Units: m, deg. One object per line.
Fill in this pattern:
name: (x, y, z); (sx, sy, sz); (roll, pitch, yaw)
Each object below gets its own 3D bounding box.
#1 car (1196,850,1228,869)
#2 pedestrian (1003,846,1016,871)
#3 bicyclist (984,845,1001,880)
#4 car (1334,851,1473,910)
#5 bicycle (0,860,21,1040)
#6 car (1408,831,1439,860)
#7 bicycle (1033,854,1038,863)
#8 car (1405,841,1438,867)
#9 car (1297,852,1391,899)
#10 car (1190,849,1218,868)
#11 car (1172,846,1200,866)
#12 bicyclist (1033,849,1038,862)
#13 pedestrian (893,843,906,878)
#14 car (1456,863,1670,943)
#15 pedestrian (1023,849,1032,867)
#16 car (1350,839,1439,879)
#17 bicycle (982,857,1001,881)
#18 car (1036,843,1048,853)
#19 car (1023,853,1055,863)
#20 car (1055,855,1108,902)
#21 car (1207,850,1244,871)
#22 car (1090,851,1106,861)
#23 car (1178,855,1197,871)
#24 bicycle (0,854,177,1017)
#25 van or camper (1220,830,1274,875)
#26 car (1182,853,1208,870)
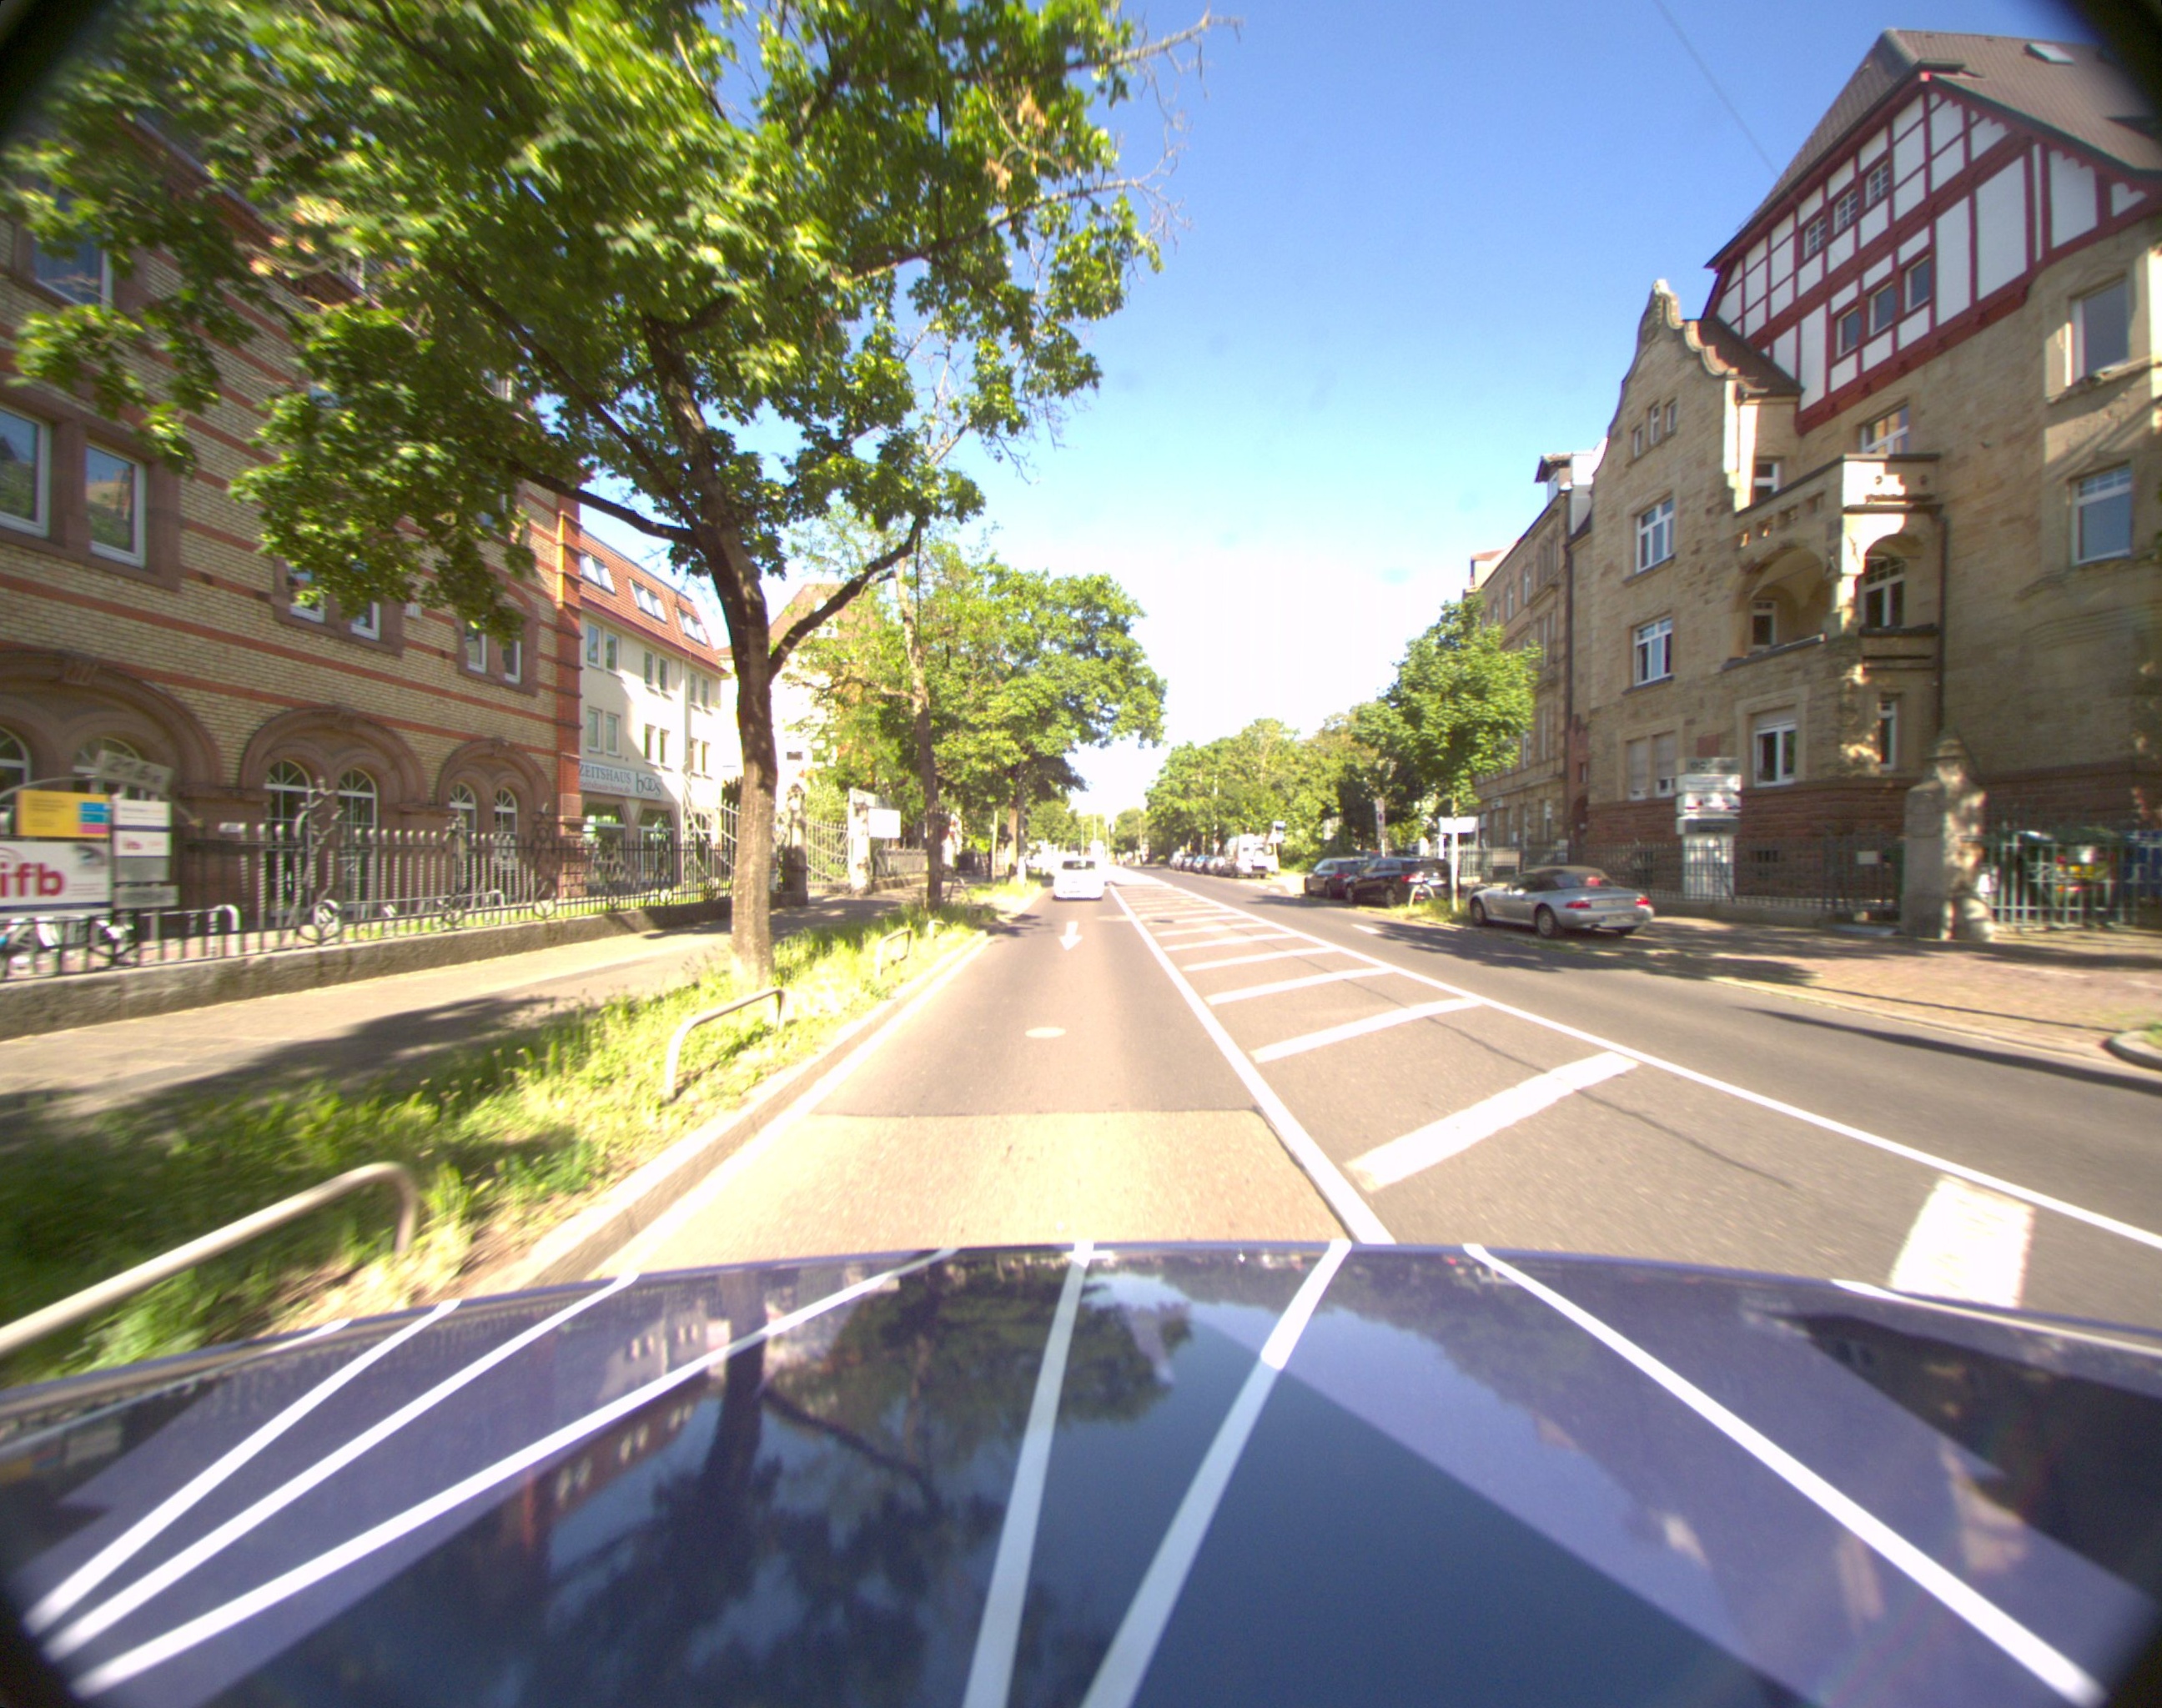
car: (10.253, 0.445, 59.693); (1.785, 1.405, 4.405); (1, 0, 0)
pedestrian: (-5.054, 0.311, 53.744); (0.749, 1.777, 0.811); (2, 1, 1)
bicyclist: (-4.471, 0.422, 38.343); (0.647, 1.685, 0.889); (3, 0, 1)
car: (9.551, 0.707, 22.997); (1.861, 1.485, 4.703); (-4, 1, -4)
bicycle: (-8.114, 0.649, 4.579); (2.202, 1.172, 0.687); (-1, 2, -5)
car: (23.943, -0.612, 53.110); (1.860, 1.903, 4.458); (1, 2, 25)
bicycle: (-5.962, 0.579, 98.898); (0.617, 1.169, 1.918); (3, 0, -4)
car: (21.773, -0.047, 48.549); (1.860, 1.504, 3.535); (1, 2, 25)
car: (9.617, 0.730, 28.242); (1.860, 1.419, 4.720); (-4, 0, 1)
car: (10.868, 0.363, 67.392); (1.784, 1.529, 4.558); (-2, 1, 1)
car: (11.395, 0.182, 82.642); (1.989, 2.024, 4.873); (2, 0, -4)
bicyclist: (-5.955, 0.195, 98.921); (0.622, 1.680, 0.820); (3, 0, -3)
pedestrian: (-9.345, 0.349, 39.061); (0.533, 1.768, 0.541); (0, 1, -26)
car: (9.162, 0.853, 14.894); (1.682, 1.248, 4.014); (-2, 0, 1)
pedestrian: (-5.010, 0.335, 71.472); (0.696, 1.649, 0.820); (2, 1, -1)
car: (15.637, 0.254, 37.866); (4.150, 1.660, 1.996); (-4, 0, -33)
bicycle: (-4.489, 0.743, 38.281); (0.654, 1.169, 1.843); (3, 0, 0)
car: (-6.124, -0.876, 118.264); (1.847, 1.432, 4.104); (2, 0, -4)
car: (-5.901, 0.587, 107.742); (4.417, 1.409, 2.047); (0, 0, 1)
car: (0.091, 0.810, 26.956); (1.652, 1.449, 3.897); (-2, 0, 3)
car: (10.347, 0.451, 54.826); (1.698, 1.448, 4.662); (1, 0, -1)
car: (2.354, 0.284, 108.751); (1.924, 1.411, 4.223); (0, 0, -4)
car: (10.868, 0.897, 77.611); (1.467, 1.493, 3.958); (1, 1, 1)
bicycle: (-8.508, 0.605, 5.787); (2.202, 1.172, 0.687); (-1, 2, -5)
van or camper: (10.656, -0.116, 49.292); (2.222, 2.723, 6.088); (-1, 0, 0)
car: (10.833, 0.702, 72.222); (1.594, 1.474, 4.270); (1, 1, -3)
